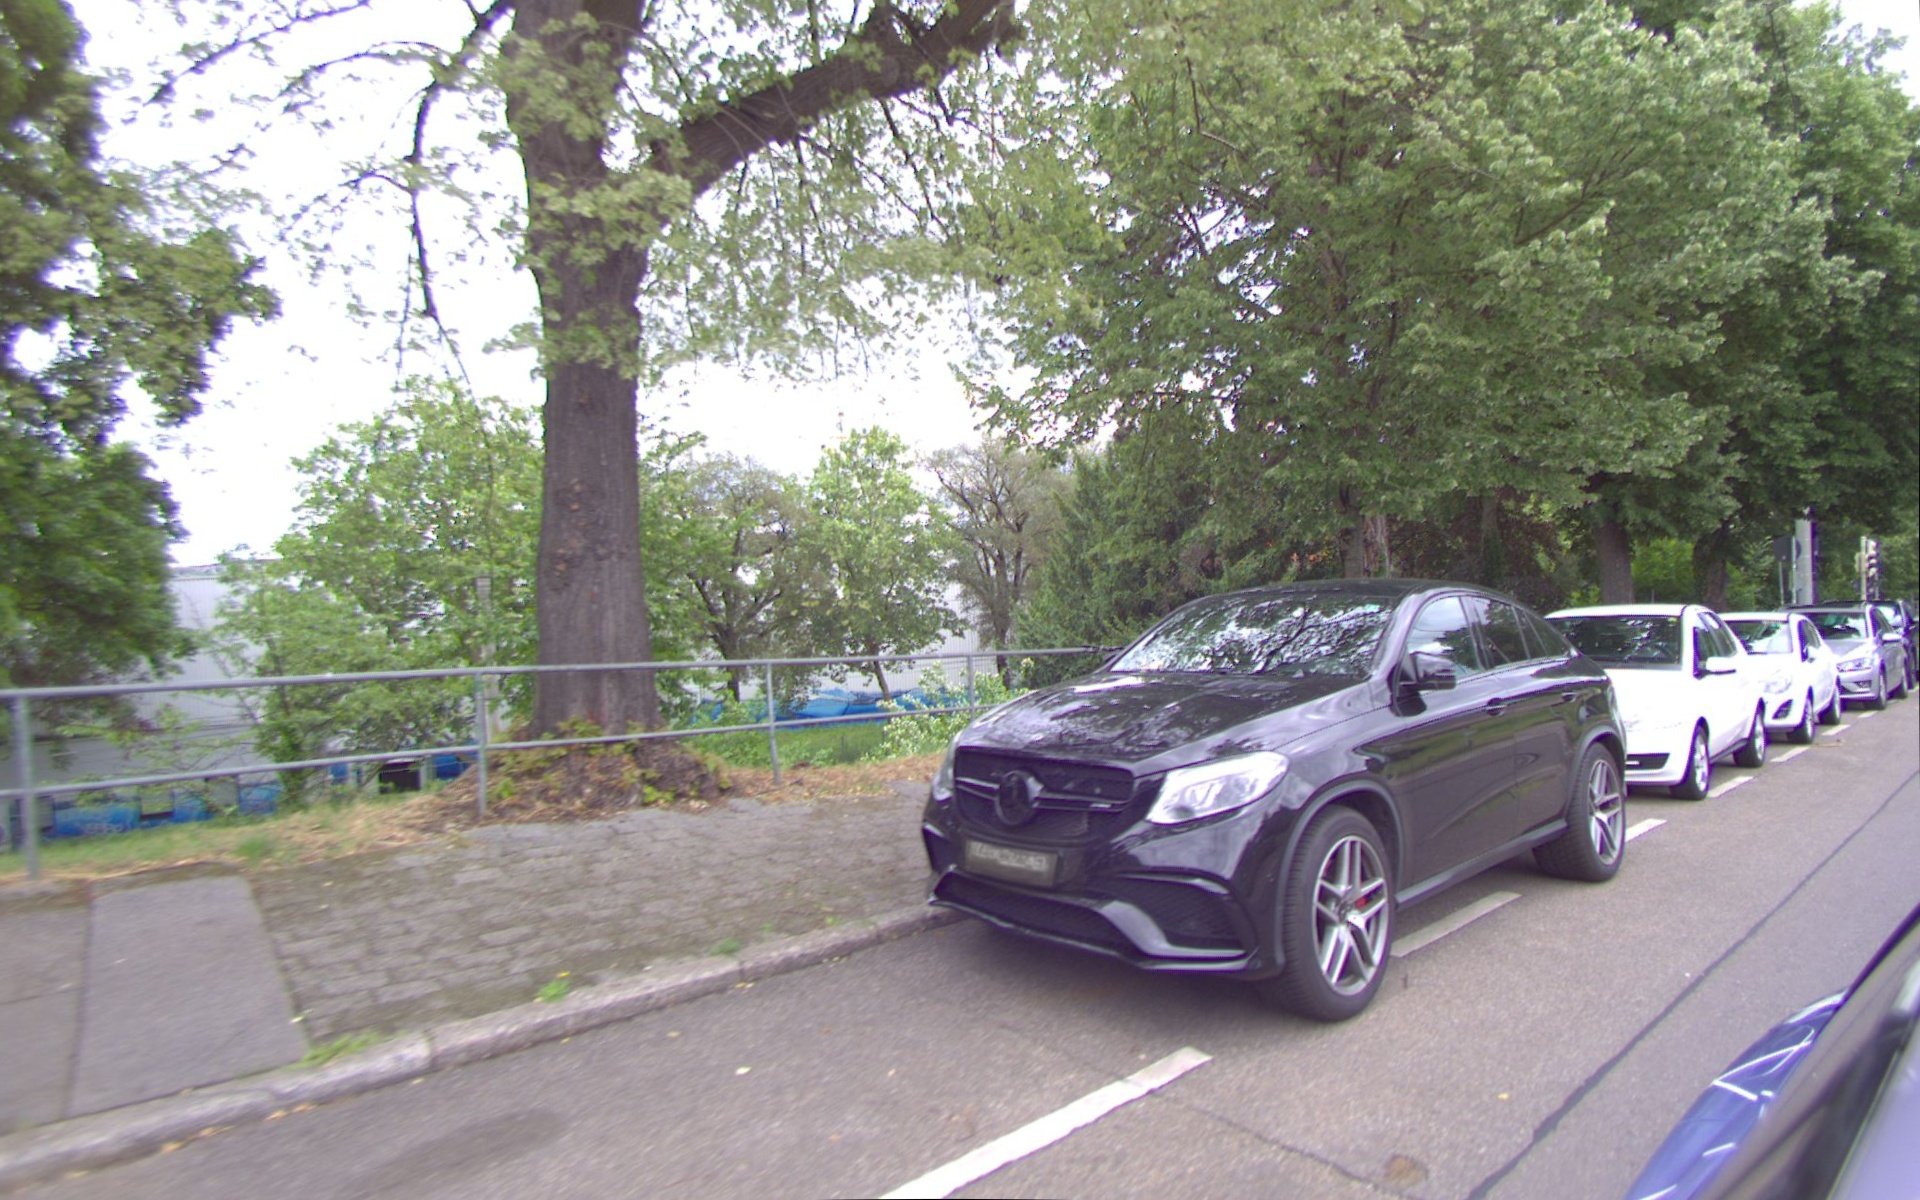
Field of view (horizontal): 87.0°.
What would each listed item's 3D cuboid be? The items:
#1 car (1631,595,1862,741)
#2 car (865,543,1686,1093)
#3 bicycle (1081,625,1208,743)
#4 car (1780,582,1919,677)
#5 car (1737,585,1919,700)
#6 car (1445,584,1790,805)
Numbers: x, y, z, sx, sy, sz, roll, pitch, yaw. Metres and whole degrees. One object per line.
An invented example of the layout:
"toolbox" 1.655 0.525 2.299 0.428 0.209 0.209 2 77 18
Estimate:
"car" 9.989 0.748 12.743 3.996 1.536 1.630 -1 -2 -43
"car" 2.070 0.678 5.495 4.974 1.699 1.880 -1 -2 -41
"bicycle" 1.848 0.778 9.948 0.426 0.988 1.770 -1 1 39
"car" 17.764 0.500 19.736 4.518 1.635 1.907 -1 -1 -40
"car" 14.113 0.579 16.318 4.289 1.595 1.736 -1 0 -42
"car" 6.354 0.738 9.599 4.019 1.653 1.727 0 -3 -43
